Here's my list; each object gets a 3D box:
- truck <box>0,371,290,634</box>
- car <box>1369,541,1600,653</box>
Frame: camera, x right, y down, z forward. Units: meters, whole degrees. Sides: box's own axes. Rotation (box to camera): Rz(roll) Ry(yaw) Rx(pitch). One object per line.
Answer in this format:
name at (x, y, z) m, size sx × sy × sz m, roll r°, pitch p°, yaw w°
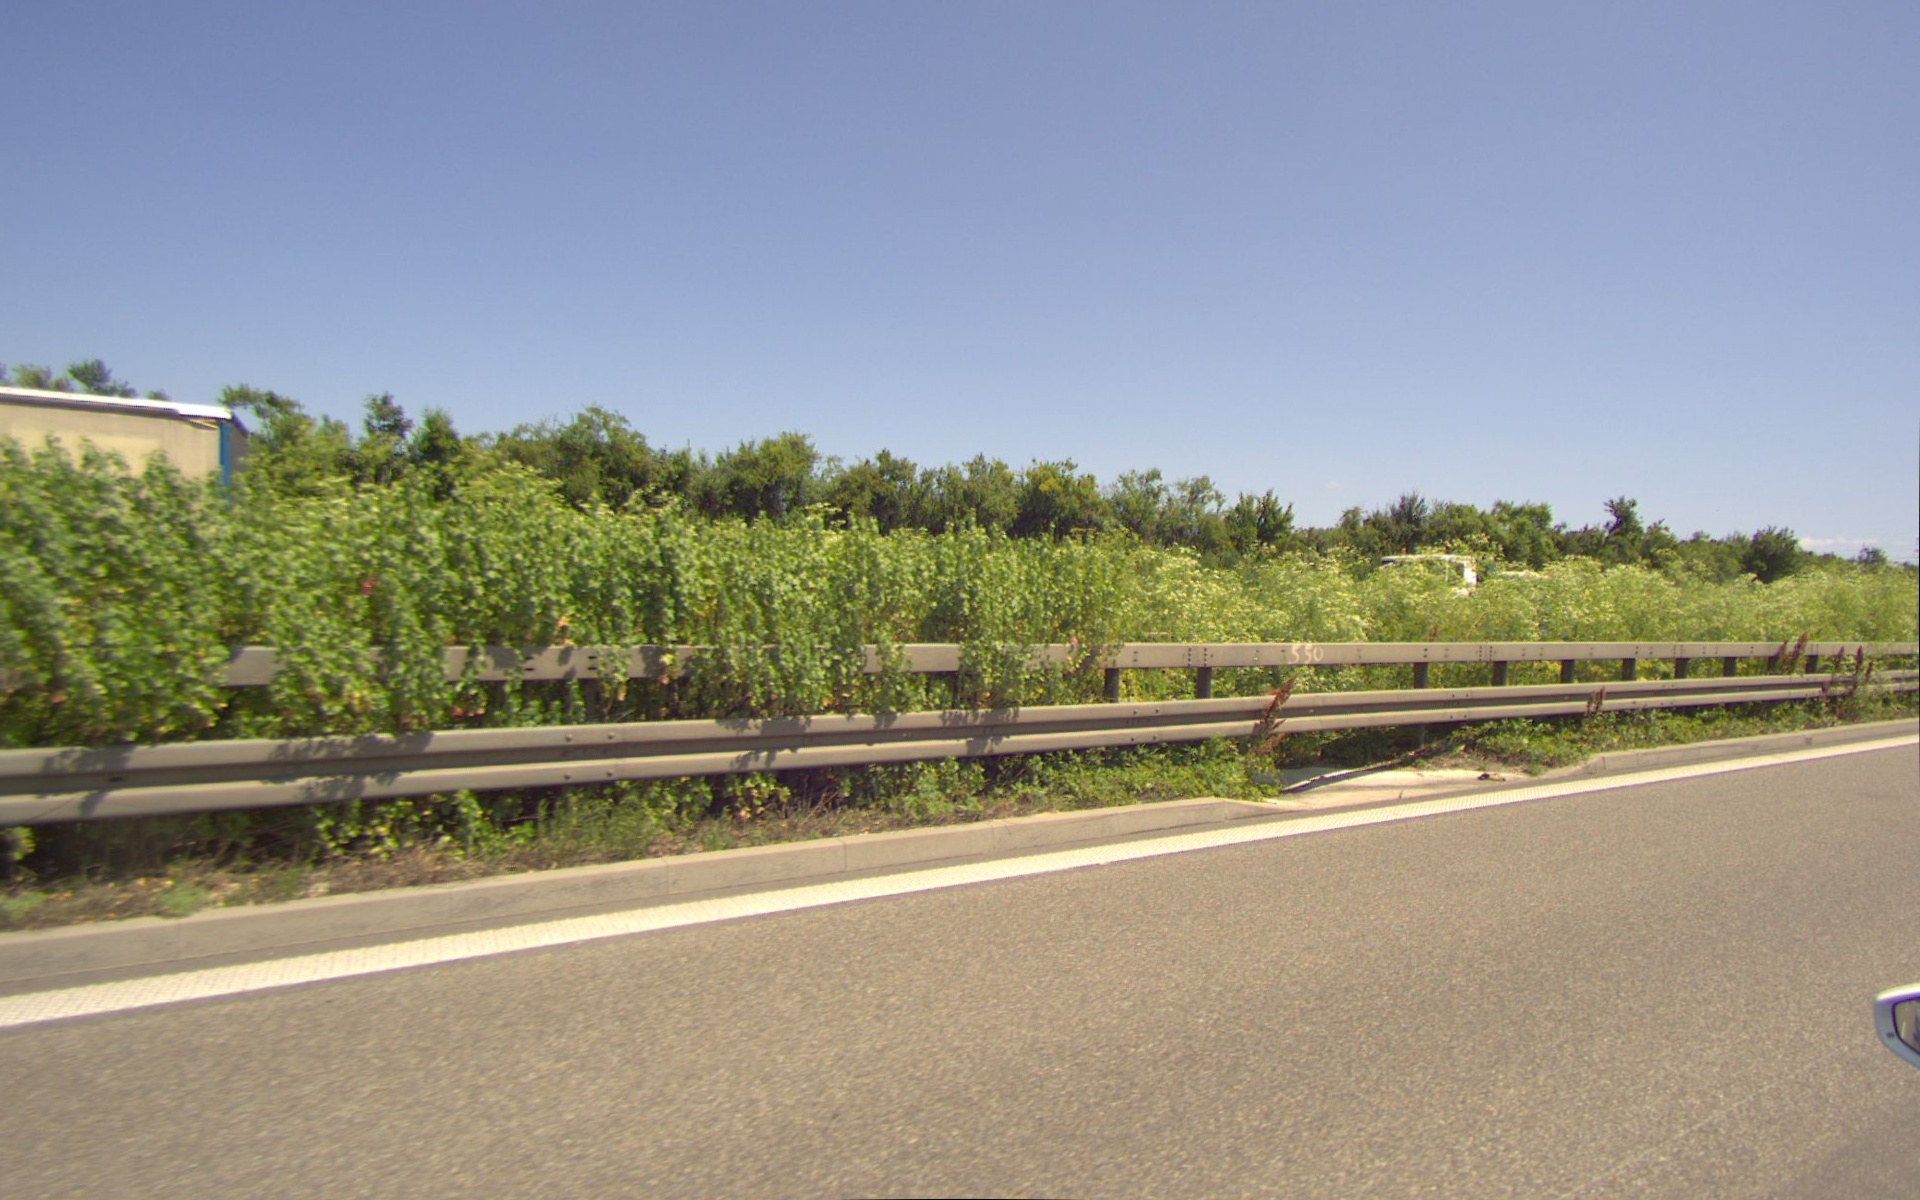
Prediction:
truck at (-18.270, -1.440, 12.025) m, size 16.842 × 3.565 × 2.660 m, roll 1°, pitch 0°, yaw -31°
car at (17.889, -0.011, 34.041) m, size 8.695 × 3.397 × 2.779 m, roll 1°, pitch 0°, yaw -31°
